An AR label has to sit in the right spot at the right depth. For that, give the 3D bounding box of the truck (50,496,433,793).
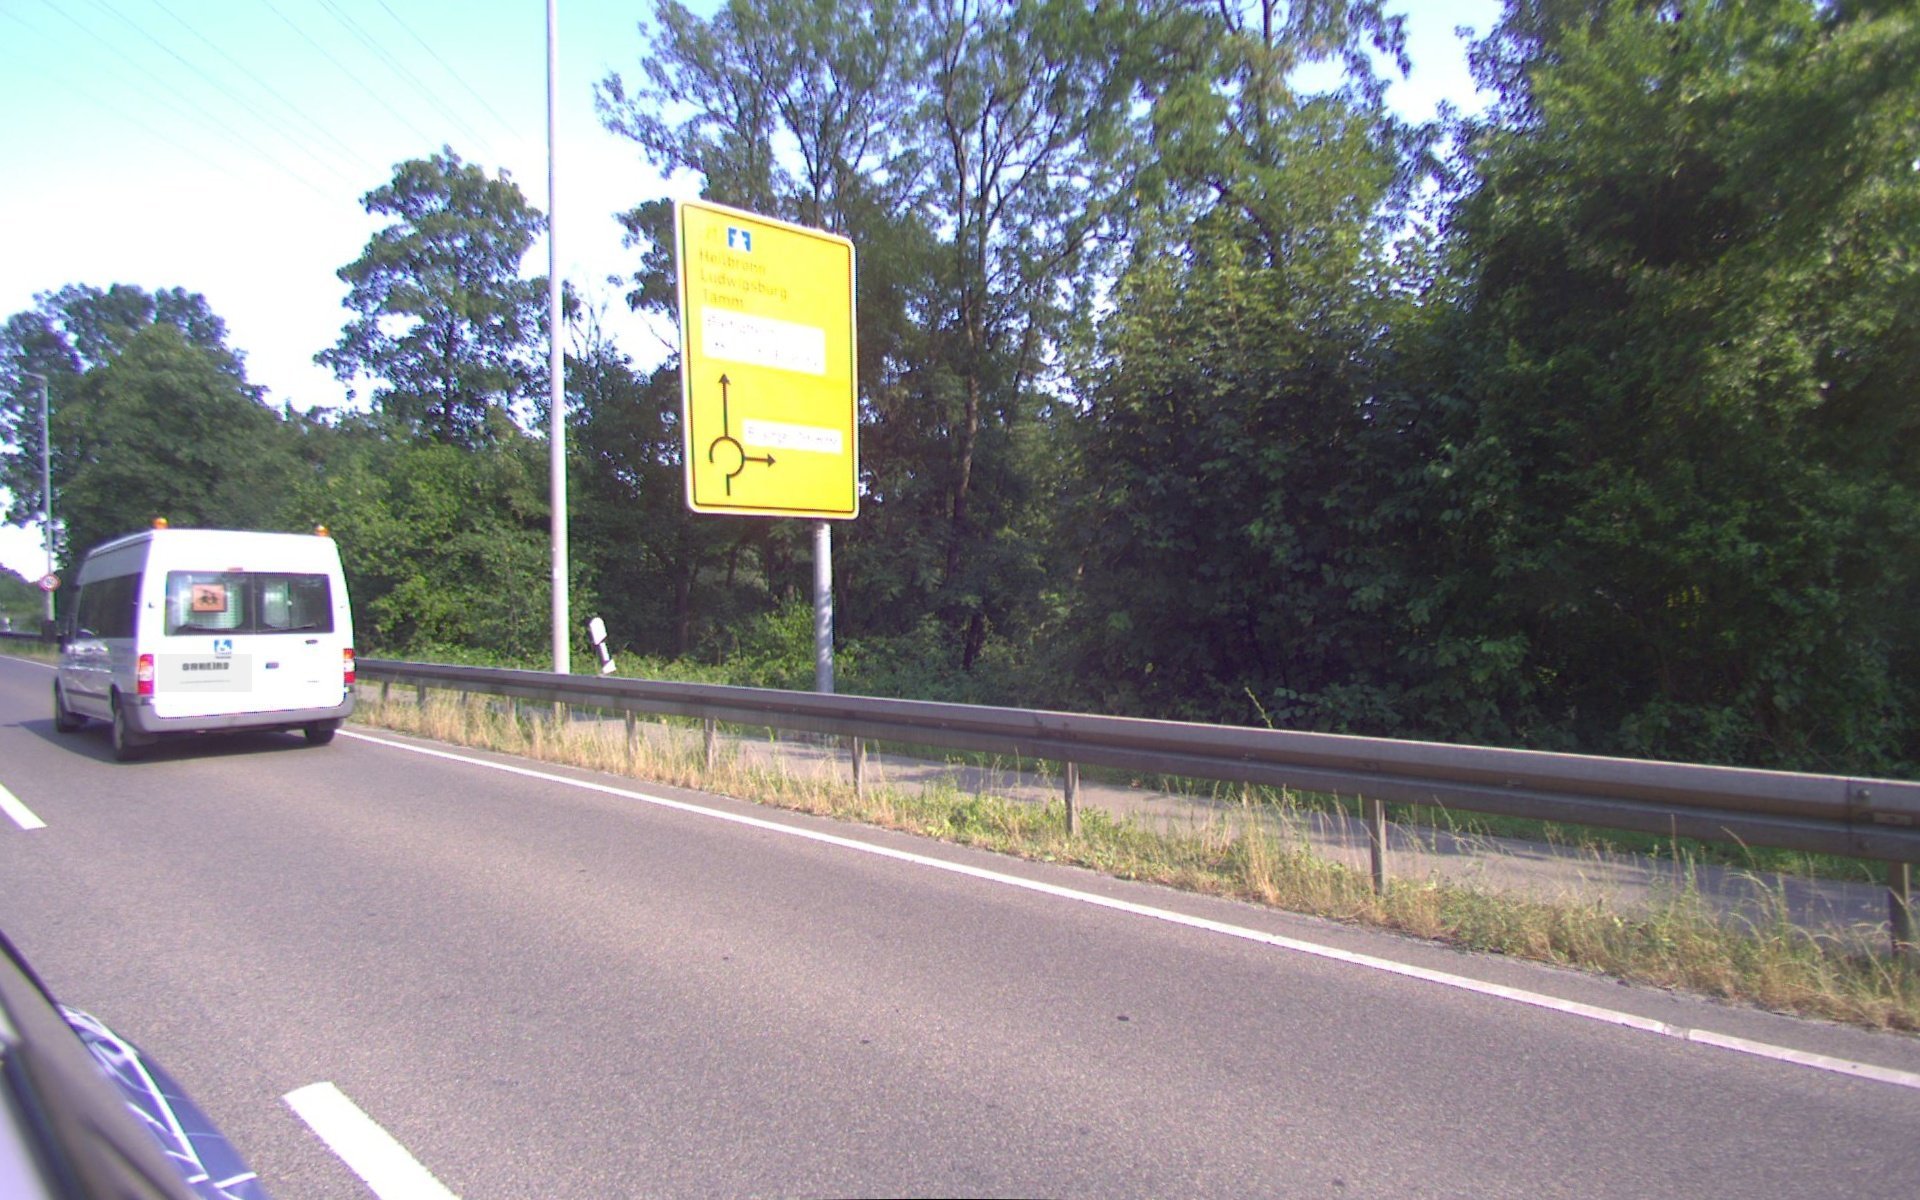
[{"bbox_3d":[-7.965,0.395,10.919,5.869,2.403,2.036,-1,-1,41],"label":"truck"}]
